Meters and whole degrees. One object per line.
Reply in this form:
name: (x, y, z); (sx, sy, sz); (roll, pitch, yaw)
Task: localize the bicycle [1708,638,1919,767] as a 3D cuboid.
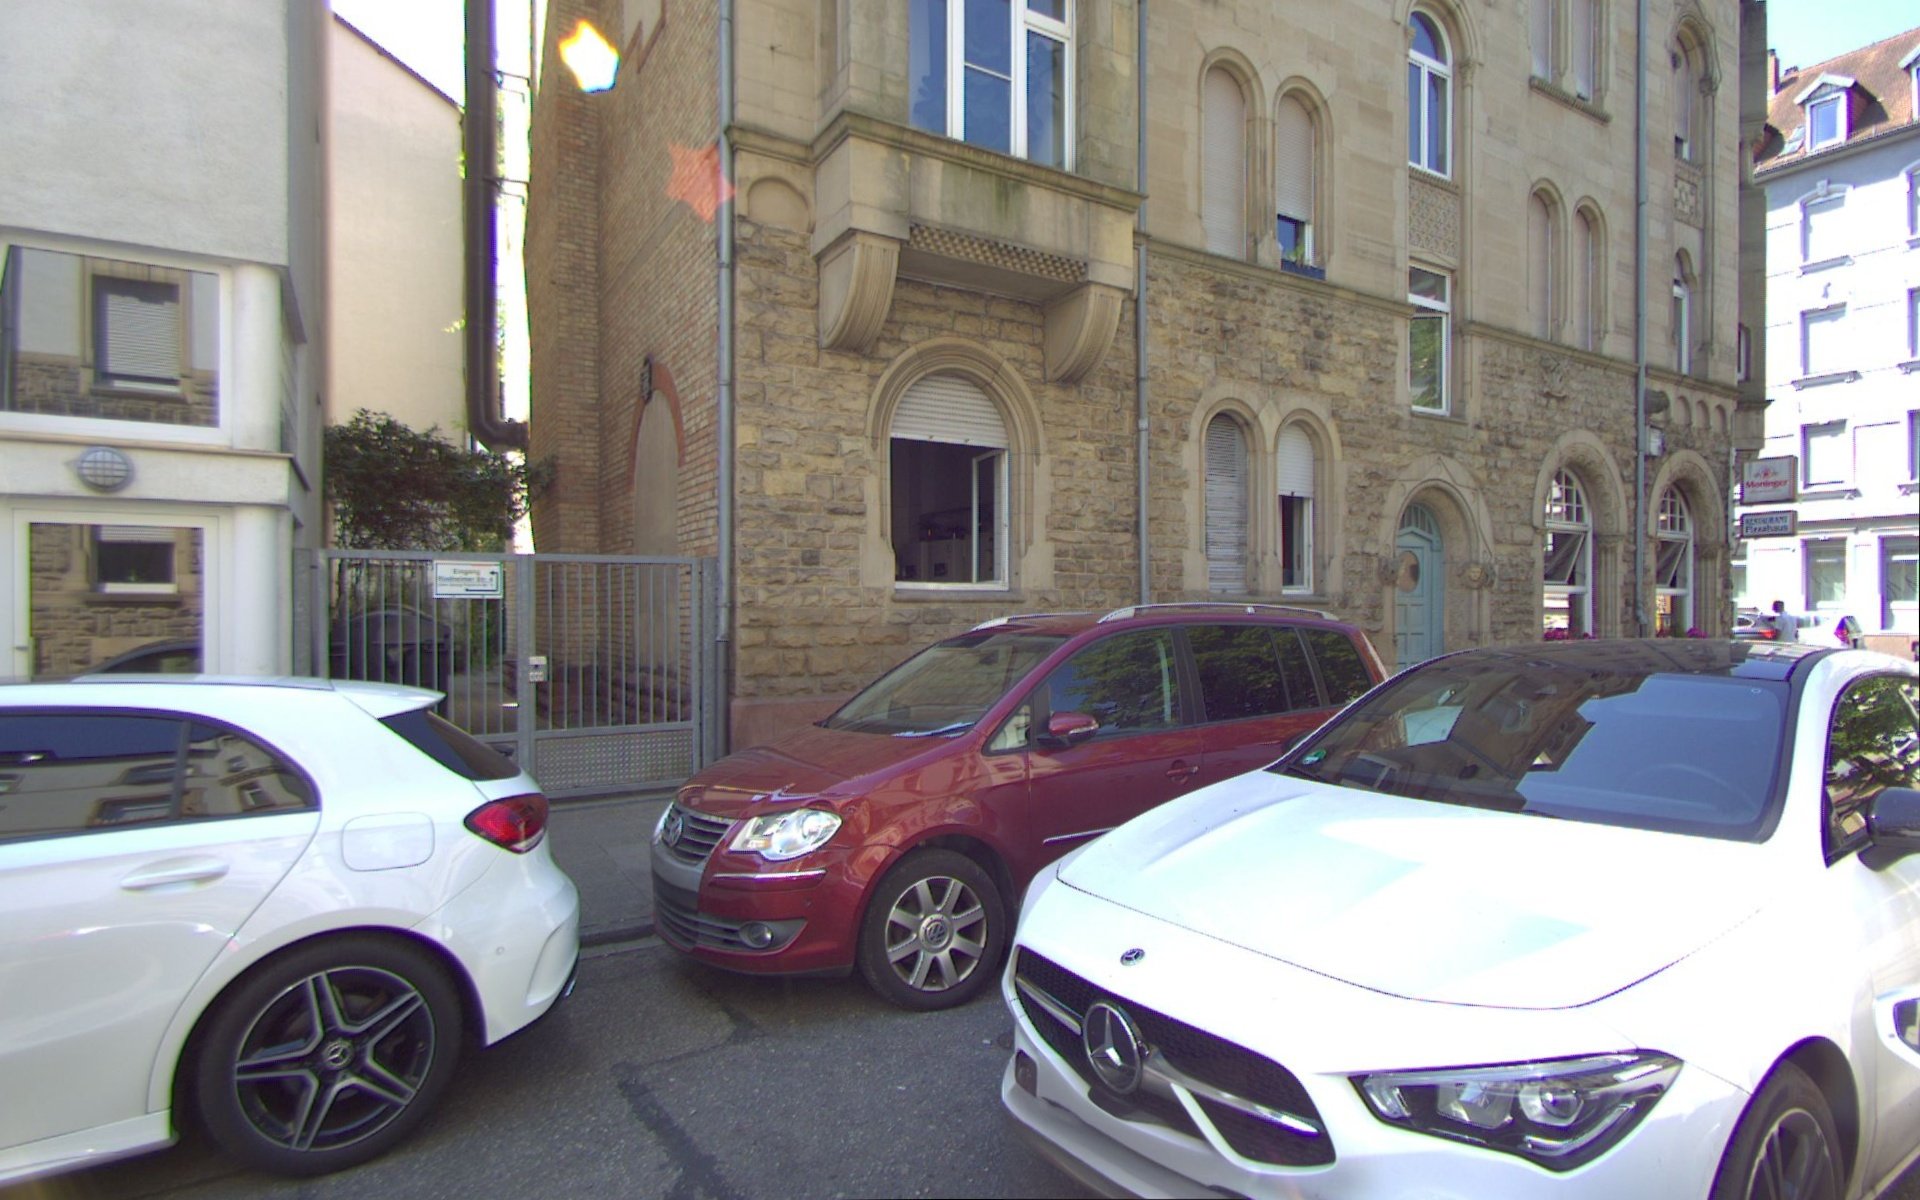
bicycle: (9.207, 1.050, 10.673); (0.391, 1.145, 1.959); (0, 2, -34)

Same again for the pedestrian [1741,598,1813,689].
pedestrian: (15.815, 0.831, 19.456); (0.765, 1.694, 0.853); (0, -1, -31)

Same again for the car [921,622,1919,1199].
car: (2.196, 0.841, 3.292); (4.313, 1.480, 1.832); (1, -3, -32)

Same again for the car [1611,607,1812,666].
car: (21.114, 0.998, 28.390); (1.786, 1.539, 4.202); (0, -2, -31)

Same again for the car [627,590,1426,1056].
car: (0.497, 0.831, 5.292); (4.009, 1.603, 1.663); (1, -3, -33)

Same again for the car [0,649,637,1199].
car: (-3.294, 0.925, 2.850); (4.234, 1.479, 1.766); (1, -3, -34)

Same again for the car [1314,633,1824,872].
car: (4.922, 0.985, 7.898); (4.468, 1.370, 1.691); (1, -3, -34)

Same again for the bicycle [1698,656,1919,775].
bicycle: (8.608, 1.145, 10.255); (0.289, 1.114, 1.692); (0, -4, -34)

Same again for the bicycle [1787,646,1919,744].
bicycle: (10.652, 1.095, 11.701); (0.363, 1.021, 1.515); (0, 1, -34)

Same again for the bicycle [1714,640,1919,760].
bicycle: (9.515, 1.052, 10.990); (0.431, 1.145, 1.982); (0, 0, -34)

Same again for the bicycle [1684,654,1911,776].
bicycle: (8.346, 1.120, 10.095); (0.289, 1.114, 1.692); (0, -4, -34)

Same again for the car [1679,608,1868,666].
car: (24.096, 1.079, 29.886); (1.787, 1.582, 4.025); (0, -2, -32)

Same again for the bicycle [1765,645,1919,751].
bicycle: (10.311, 1.099, 11.451); (0.410, 1.059, 1.693); (0, 1, -34)
